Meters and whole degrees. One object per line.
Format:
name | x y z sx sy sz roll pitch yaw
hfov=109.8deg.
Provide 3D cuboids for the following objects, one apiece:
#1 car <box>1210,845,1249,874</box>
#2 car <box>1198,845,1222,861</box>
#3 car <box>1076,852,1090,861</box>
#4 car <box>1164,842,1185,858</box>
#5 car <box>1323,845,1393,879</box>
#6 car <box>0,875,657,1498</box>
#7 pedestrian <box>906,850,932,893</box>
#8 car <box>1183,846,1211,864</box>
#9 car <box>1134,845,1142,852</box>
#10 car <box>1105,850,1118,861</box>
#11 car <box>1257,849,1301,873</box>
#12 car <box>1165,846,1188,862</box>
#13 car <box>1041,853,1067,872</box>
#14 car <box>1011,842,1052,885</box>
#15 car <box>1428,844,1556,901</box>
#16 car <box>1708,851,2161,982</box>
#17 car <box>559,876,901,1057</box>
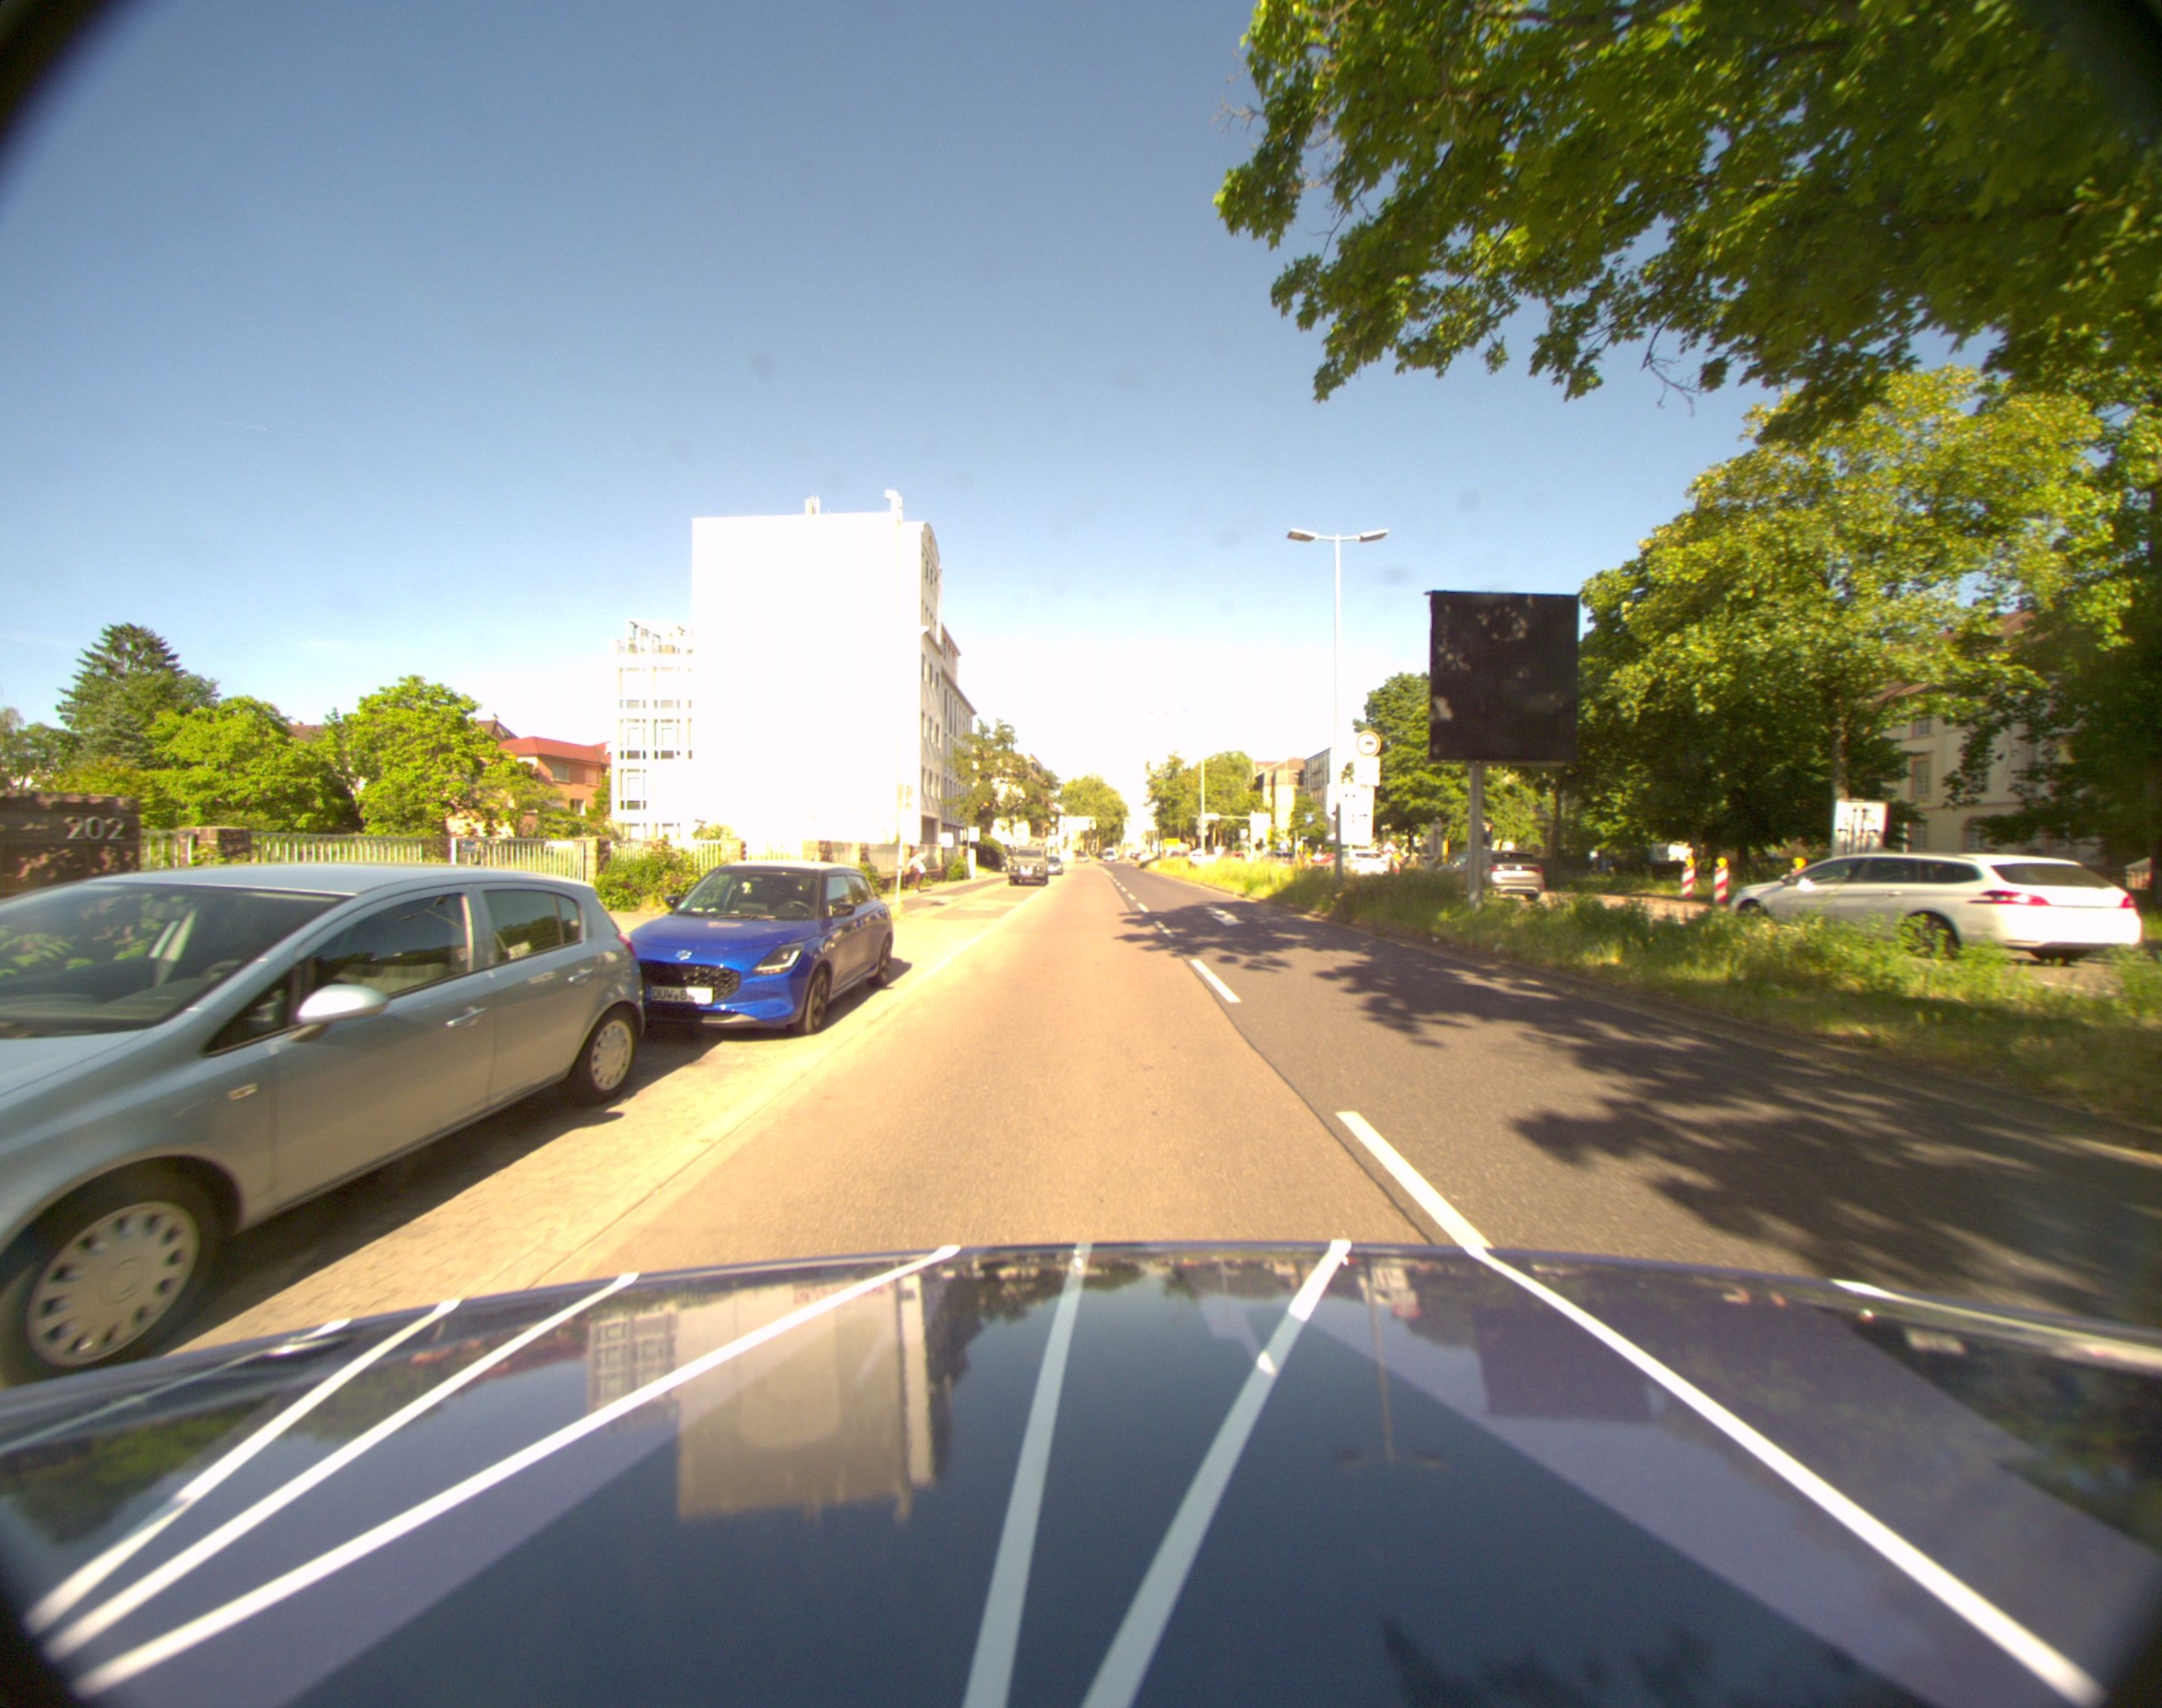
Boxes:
car | 9.819 0.301 50.474 1.757 1.609 4.321 -1 4 1
car | 14.224 -0.100 84.115 1.800 1.733 5.031 0 1 0
car | 0.354 0.391 126.551 1.882 1.510 4.002 -1 1 8
car | 12.273 -0.504 100.033 2.239 2.016 5.016 -1 1 0
car | 13.119 0.333 36.296 1.800 1.510 4.257 0 1 0
car | -3.693 0.920 3.181 1.672 1.451 3.985 3 0 -2
pedestrian | -6.141 0.647 28.759 0.745 1.574 0.896 1 1 1
car | 10.005 0.052 65.728 1.800 1.510 4.204 0 1 0
car | 14.210 -1.414 190.173 1.861 1.576 4.278 0 1 2
car | 5.217 0.216 128.881 1.882 1.511 4.000 -1 4 8
car | 13.182 0.422 50.849 1.800 1.510 4.443 0 1 0
car | 9.963 -0.028 79.579 1.800 1.510 4.346 -1 1 0
car | -2.062 0.681 59.048 1.641 1.439 4.157 0 -1 4
car | -2.437 0.419 38.203 1.664 2.002 4.775 1 1 1
car | 12.850 0.515 24.086 1.800 1.511 4.257 -1 2 1
car | 12.223 0.738 11.424 1.843 1.510 4.666 1 1 2
car | -3.153 0.926 7.781 1.672 1.176 3.900 3 0 0
